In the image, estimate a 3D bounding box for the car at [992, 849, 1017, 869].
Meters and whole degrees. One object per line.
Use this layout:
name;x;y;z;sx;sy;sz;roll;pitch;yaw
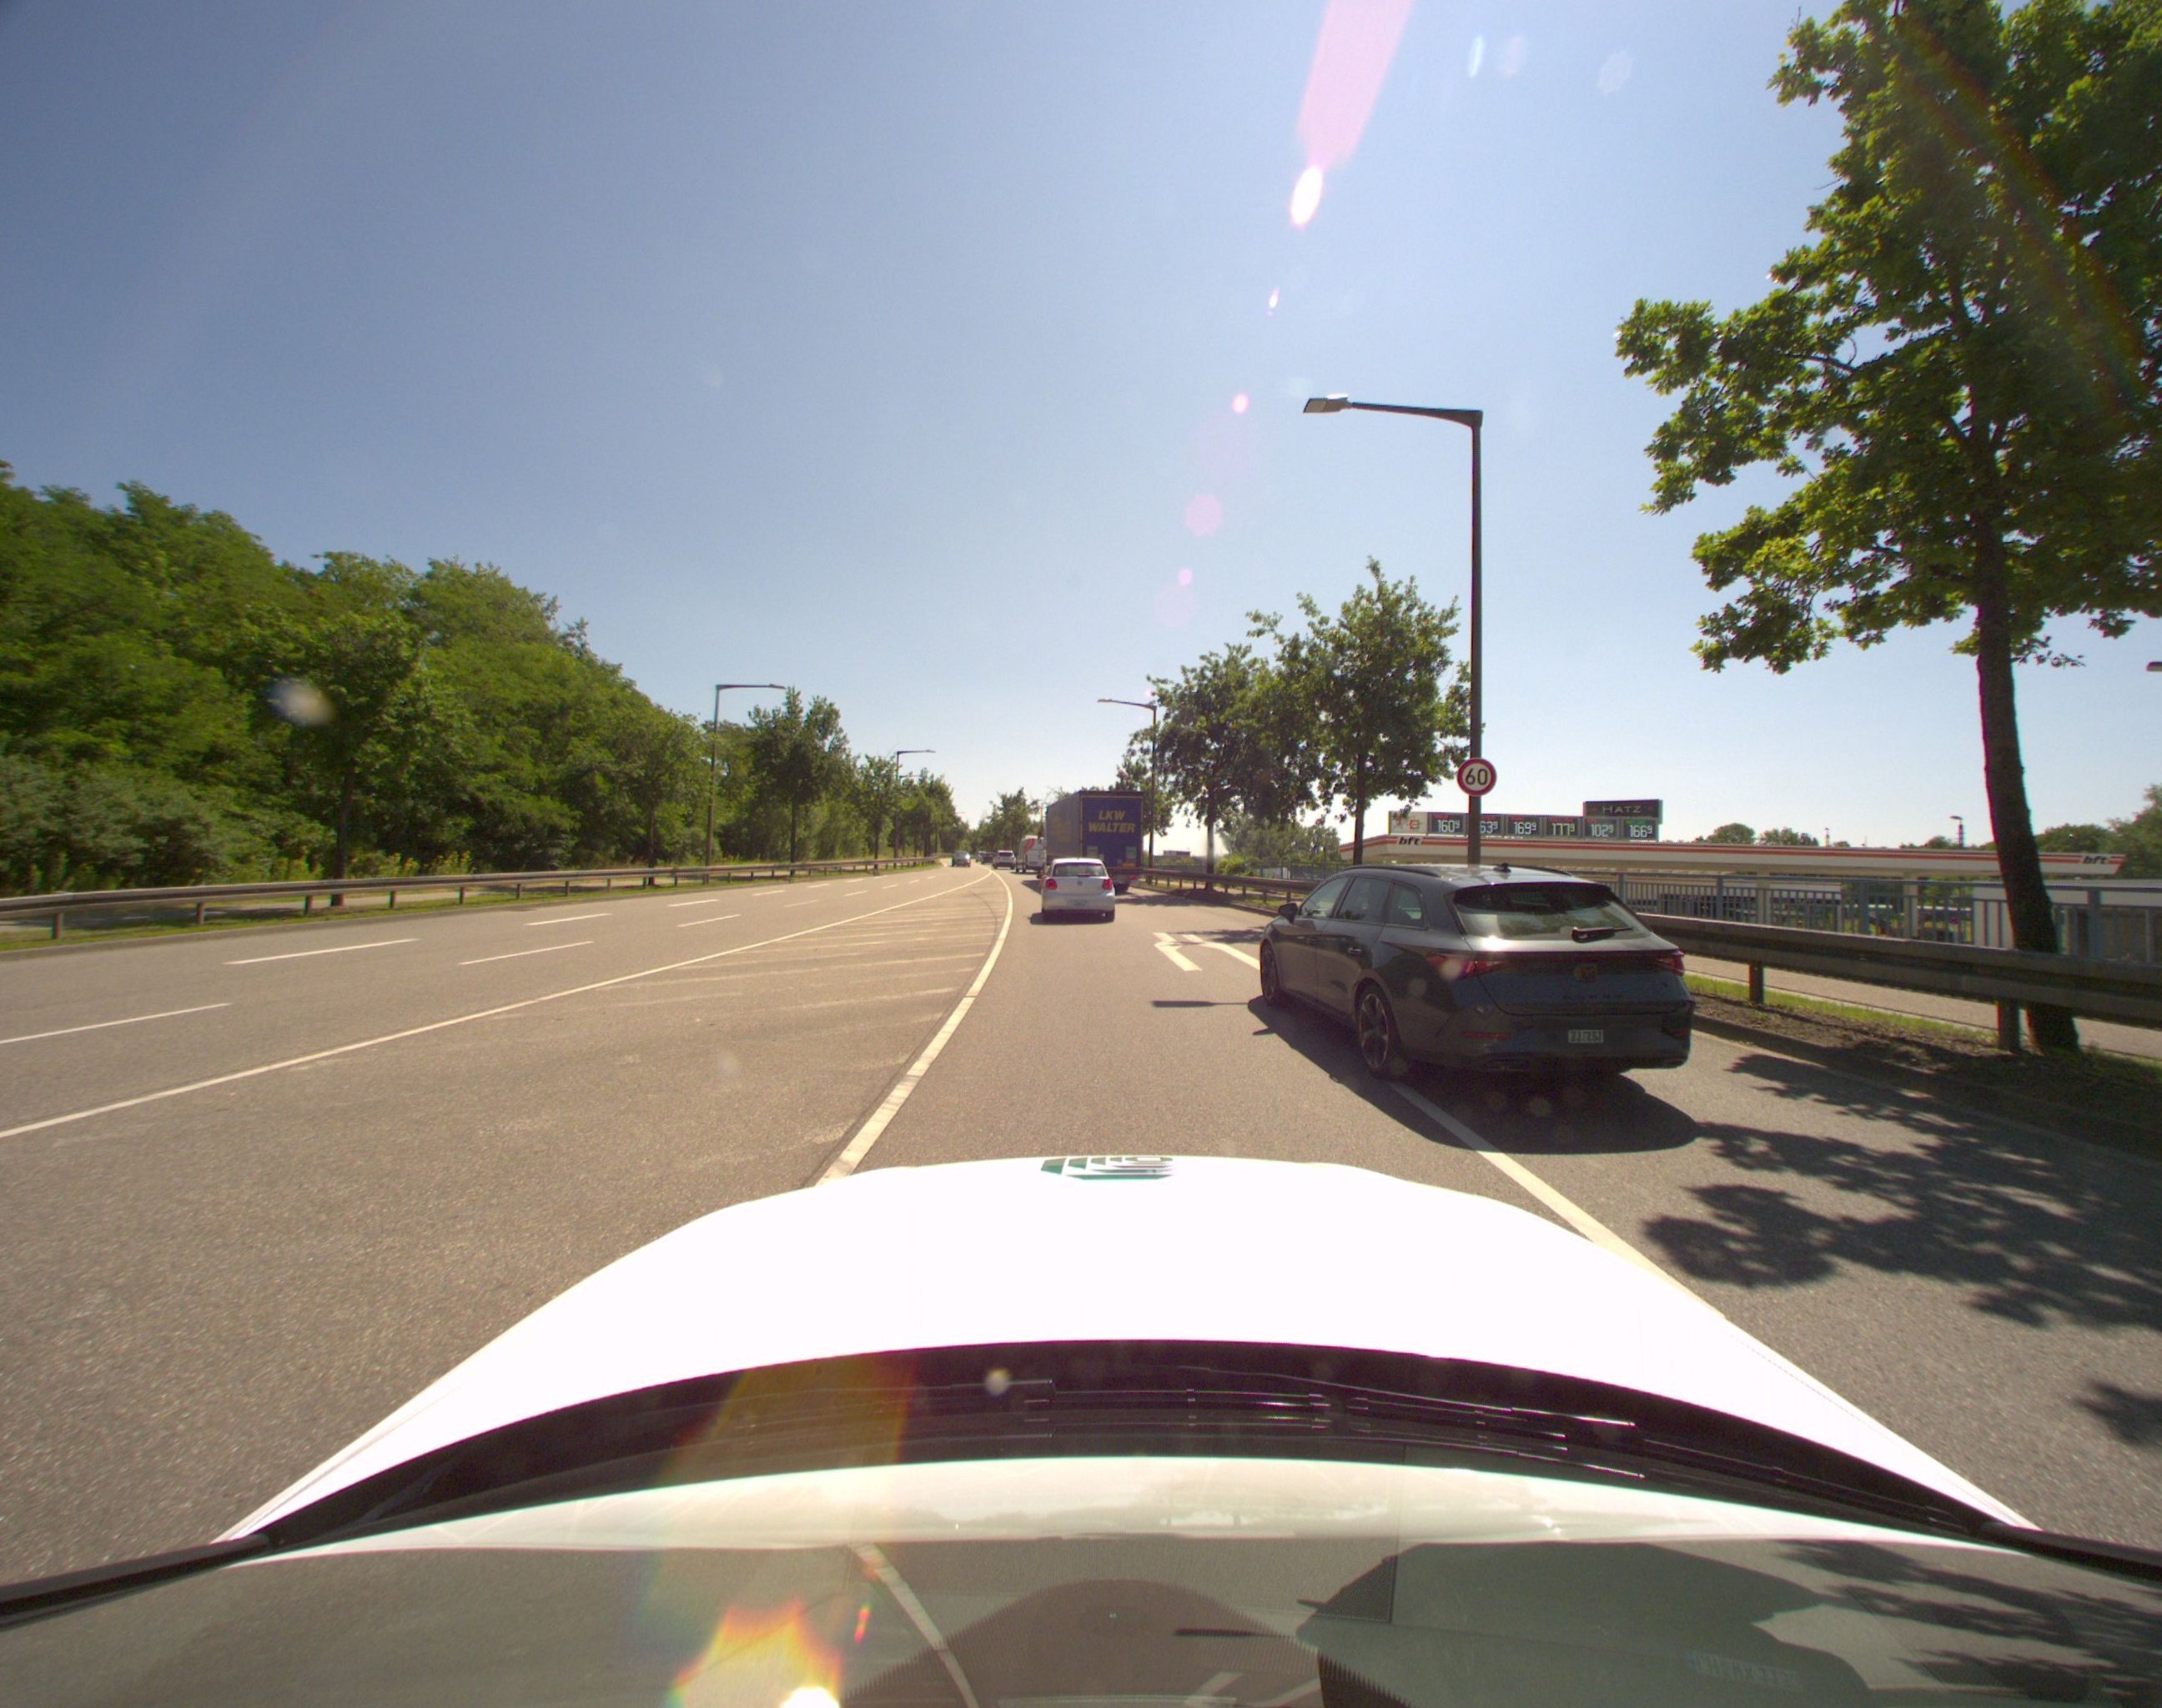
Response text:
car;-6.938;0.474;73.332;1.903;1.718;4.208;1;-2;-10

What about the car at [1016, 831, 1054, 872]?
car;-3.518;-0.159;61.648;2.175;2.900;6.337;1;0;-9

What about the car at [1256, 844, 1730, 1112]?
car;2.725;0.755;6.595;1.600;1.456;4.231;1;-2;-2

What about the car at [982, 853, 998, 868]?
car;-10.712;0.777;95.901;1.720;1.726;3.989;1;-2;-8

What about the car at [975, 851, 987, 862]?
car;-13.473;0.382;109.912;1.606;1.360;3.653;1;-1;-7

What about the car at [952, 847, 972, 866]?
car;-11.122;0.175;76.124;1.676;1.671;3.748;0;1;-5

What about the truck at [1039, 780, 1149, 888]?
truck;0.102;-0.611;39.923;2.831;4.199;16.425;1;-1;-8

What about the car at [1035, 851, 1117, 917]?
car;-0.196;0.726;19.731;1.644;1.439;3.529;1;-2;-6
